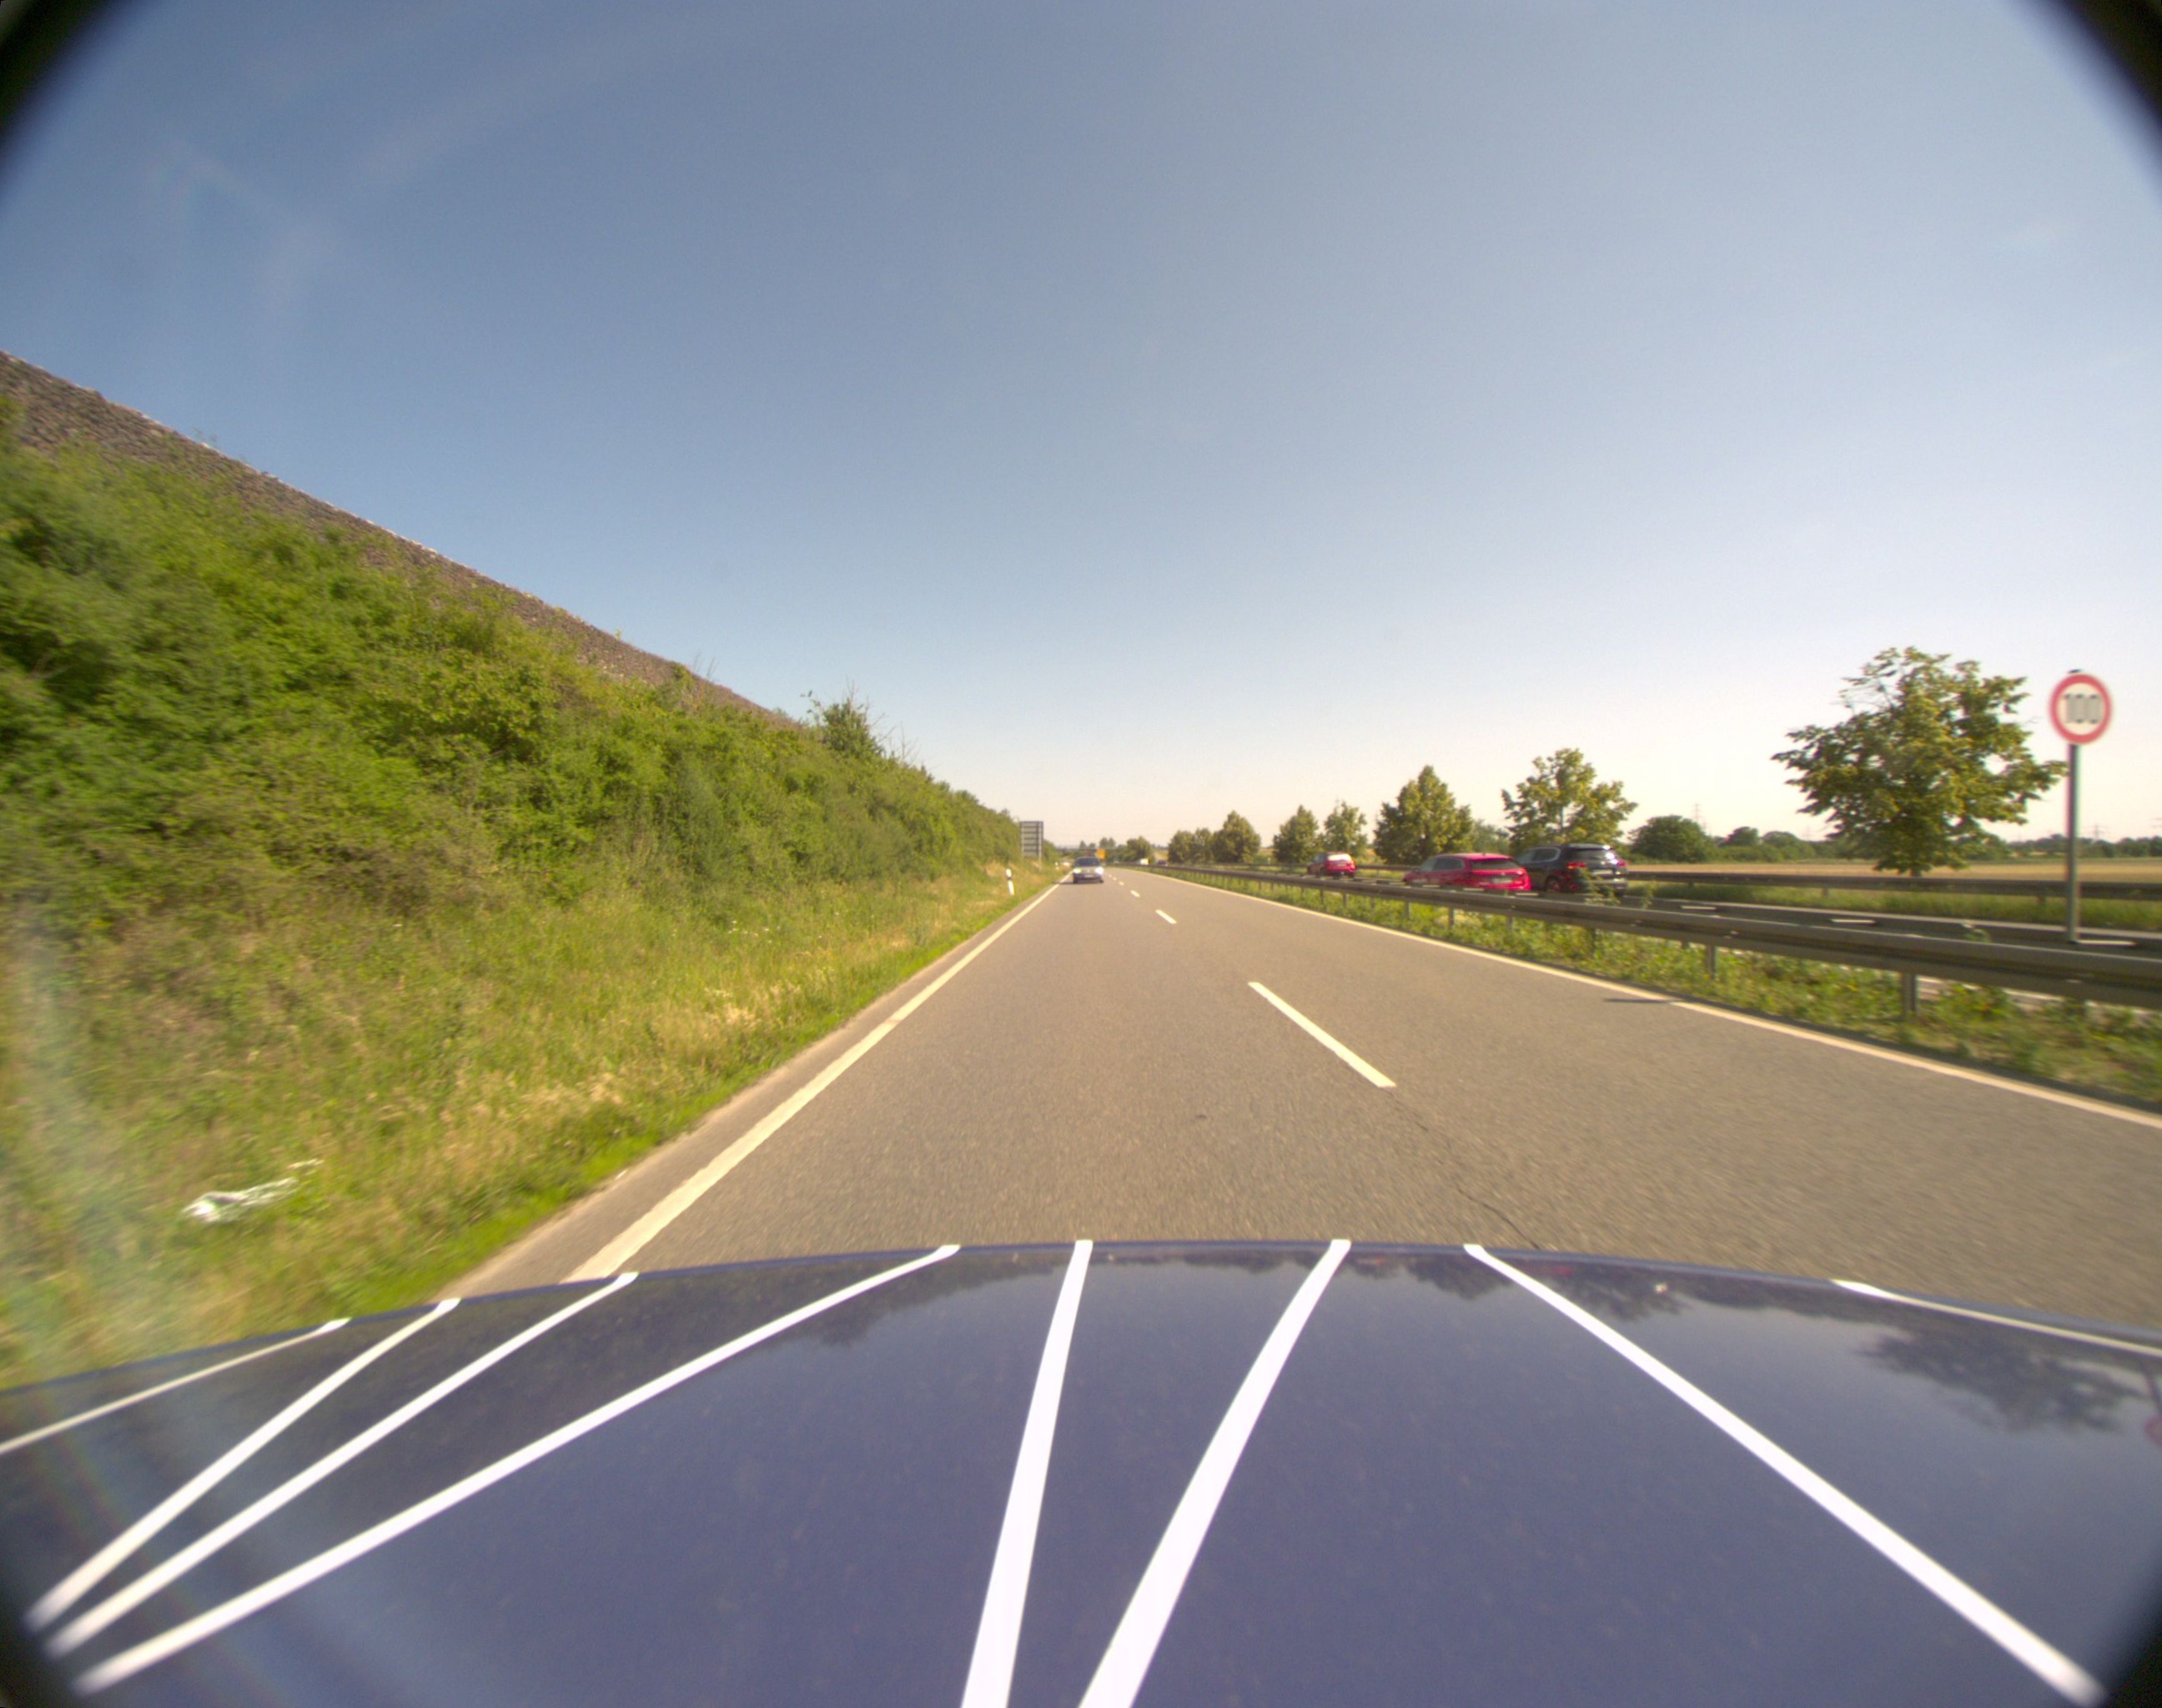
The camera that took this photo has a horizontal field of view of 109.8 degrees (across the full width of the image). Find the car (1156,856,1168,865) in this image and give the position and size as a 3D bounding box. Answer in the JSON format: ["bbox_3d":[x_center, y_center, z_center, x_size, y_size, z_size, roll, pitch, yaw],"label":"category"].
[{"bbox_3d":[14.941,1.166,139.855,1.817,1.533,4.454,0,0,2],"label":"car"}]

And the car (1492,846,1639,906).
[{"bbox_3d":[14.174,0.578,22.550,1.730,1.586,4.221,-1,0,1],"label":"car"}]

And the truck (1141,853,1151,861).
[{"bbox_3d":[15.635,0.840,182.532,1.927,1.829,5.292,-1,-1,0],"label":"truck"}]

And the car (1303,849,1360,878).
[{"bbox_3d":[14.795,0.524,45.111,1.848,1.584,4.773,-2,0,1],"label":"car"}]

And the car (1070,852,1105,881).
[{"bbox_3d":[0.419,0.746,45.608,1.854,1.634,4.001,-1,0,4],"label":"car"}]

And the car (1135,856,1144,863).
[{"bbox_3d":[12.892,1.162,167.083,1.817,1.533,4.454,0,0,2],"label":"car"}]

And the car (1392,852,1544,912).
[{"bbox_3d":[10.960,0.719,22.021,1.881,1.484,5.095,-1,0,1],"label":"car"}]

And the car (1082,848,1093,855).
[{"bbox_3d":[1.212,-0.442,138.030,1.790,1.212,4.000,0,1,3],"label":"car"}]
